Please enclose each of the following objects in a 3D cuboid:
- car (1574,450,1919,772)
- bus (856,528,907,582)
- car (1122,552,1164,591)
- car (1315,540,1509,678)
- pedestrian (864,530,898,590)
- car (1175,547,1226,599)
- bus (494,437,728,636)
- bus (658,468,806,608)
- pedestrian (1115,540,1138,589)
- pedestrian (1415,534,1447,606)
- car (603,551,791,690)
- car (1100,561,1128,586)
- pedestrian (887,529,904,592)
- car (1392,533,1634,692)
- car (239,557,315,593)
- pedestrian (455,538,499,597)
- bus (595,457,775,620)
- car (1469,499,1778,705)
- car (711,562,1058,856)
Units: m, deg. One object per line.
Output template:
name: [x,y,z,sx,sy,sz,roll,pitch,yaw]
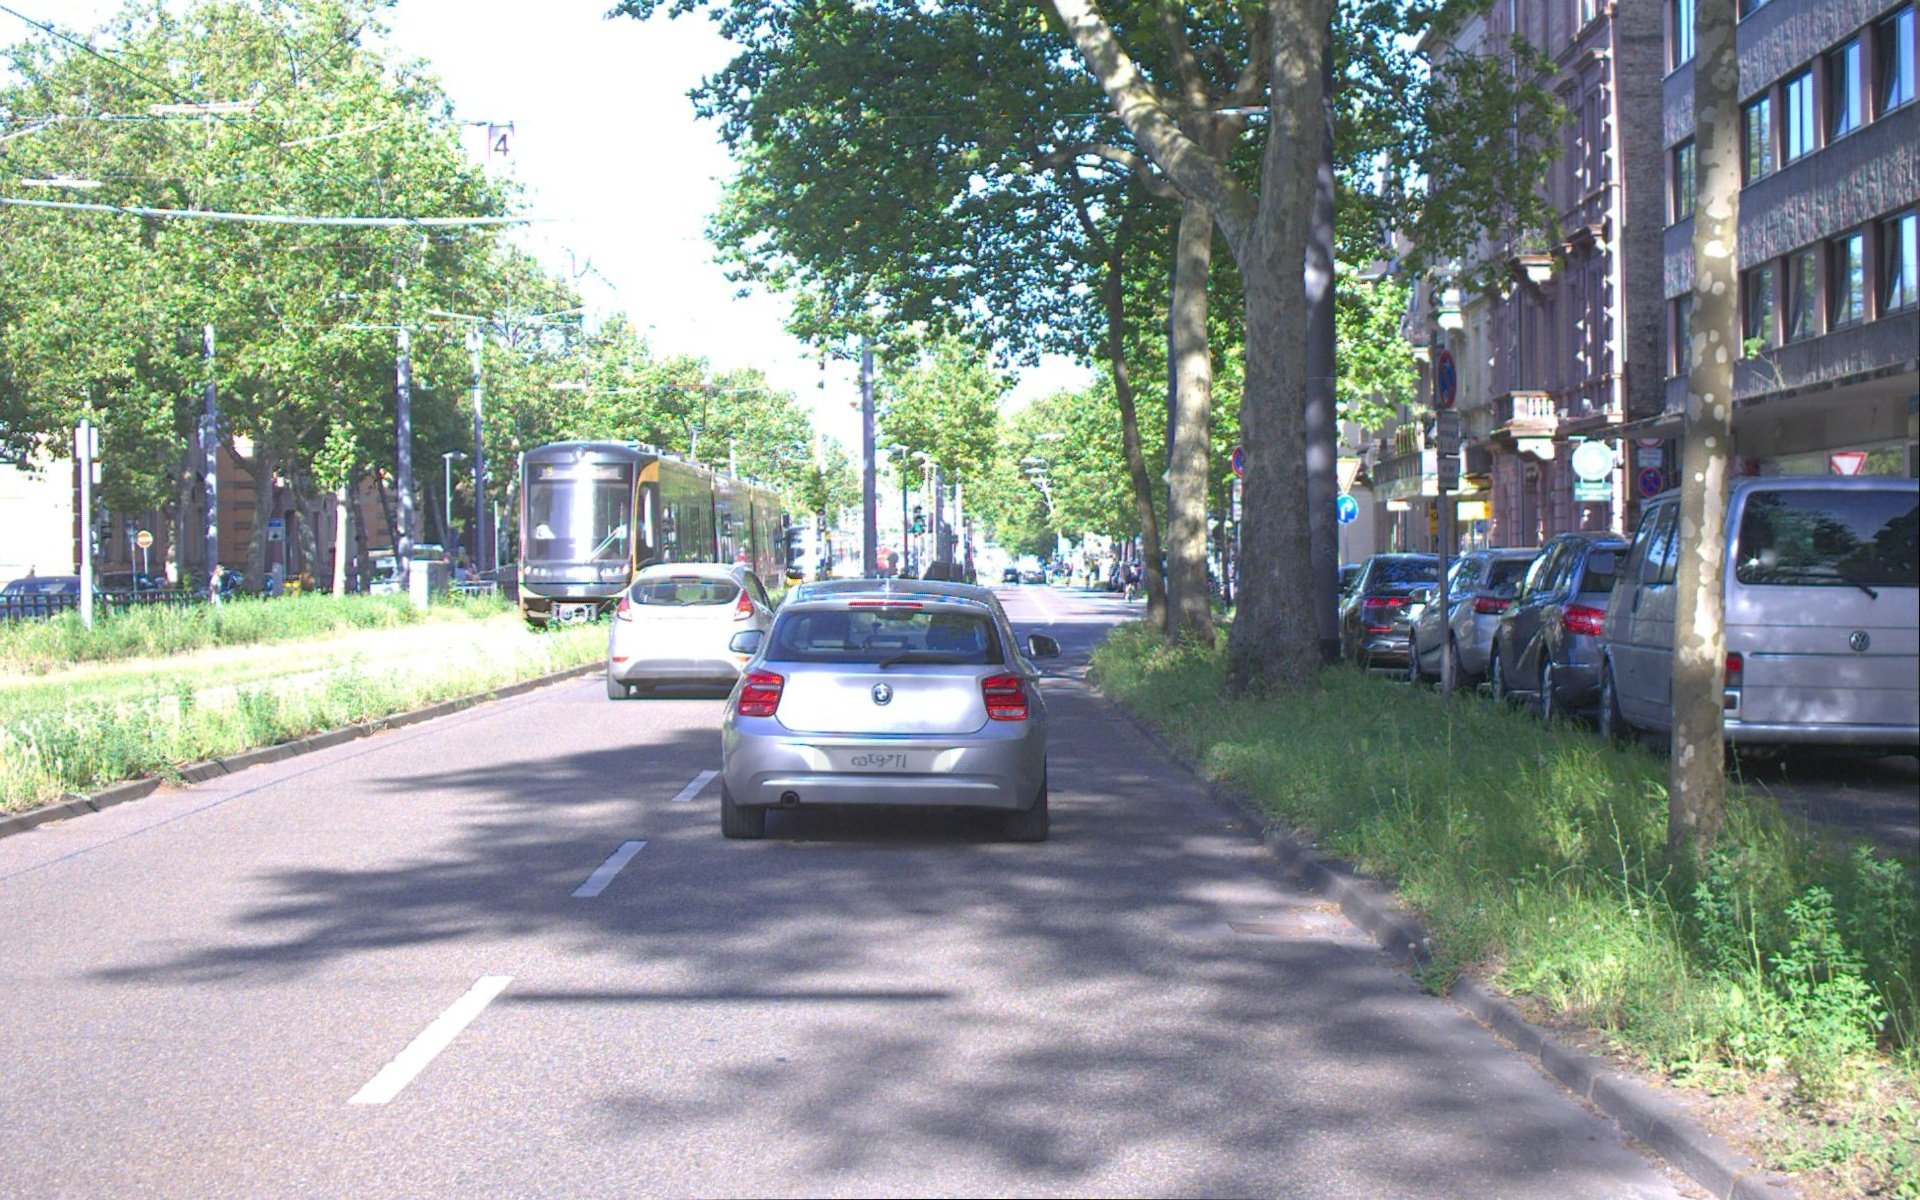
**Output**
car: [5.260,0.014,22.114,1.865,1.809,4.799,2,1,2]
bus: [-5.396,-3.206,239.608,2.750,3.613,18.847,0,1,1]
car: [8.041,-1.260,151.237,1.692,1.652,4.039,0,2,1]
car: [5.300,0.073,40.869,1.806,1.484,4.919,2,1,2]
pedestrian: [-2.502,-1.273,109.151,1.072,1.909,1.127,0,1,-1]
car: [9.484,-1.081,135.832,1.754,1.958,4.737,0,1,1]
bus: [-6.487,-1.205,66.131,2.869,3.432,13.217,0,1,1]
bus: [-5.914,-1.624,90.889,2.869,3.432,11.611,0,1,1]
pedestrian: [6.905,-1.476,142.636,0.838,2.007,0.648,2,1,8]
pedestrian: [11.988,-0.767,87.460,0.469,1.804,0.772,2,1,33]
car: [-2.818,0.187,37.491,1.647,1.358,3.760,2,1,1]
car: [10.091,-1.730,224.817,1.700,1.529,3.717,2,1,1]
pedestrian: [-1.938,-1.192,103.169,0.450,1.896,0.585,0,1,-6]
car: [5.555,0.093,35.035,1.677,1.461,4.670,2,1,0]
car: [-23.767,-0.869,119.819,1.792,1.174,4.000,2,1,1]
pedestrian: [-13.429,-0.912,95.641,1.176,1.638,0.893,0,0,-6]
bus: [-6.155,-1.394,78.870,2.869,3.432,12.214,0,1,1]
car: [5.289,-0.023,27.916,1.704,1.497,4.358,2,1,1]
car: [-0.381,0.544,19.826,1.762,1.427,4.000,2,1,0]
